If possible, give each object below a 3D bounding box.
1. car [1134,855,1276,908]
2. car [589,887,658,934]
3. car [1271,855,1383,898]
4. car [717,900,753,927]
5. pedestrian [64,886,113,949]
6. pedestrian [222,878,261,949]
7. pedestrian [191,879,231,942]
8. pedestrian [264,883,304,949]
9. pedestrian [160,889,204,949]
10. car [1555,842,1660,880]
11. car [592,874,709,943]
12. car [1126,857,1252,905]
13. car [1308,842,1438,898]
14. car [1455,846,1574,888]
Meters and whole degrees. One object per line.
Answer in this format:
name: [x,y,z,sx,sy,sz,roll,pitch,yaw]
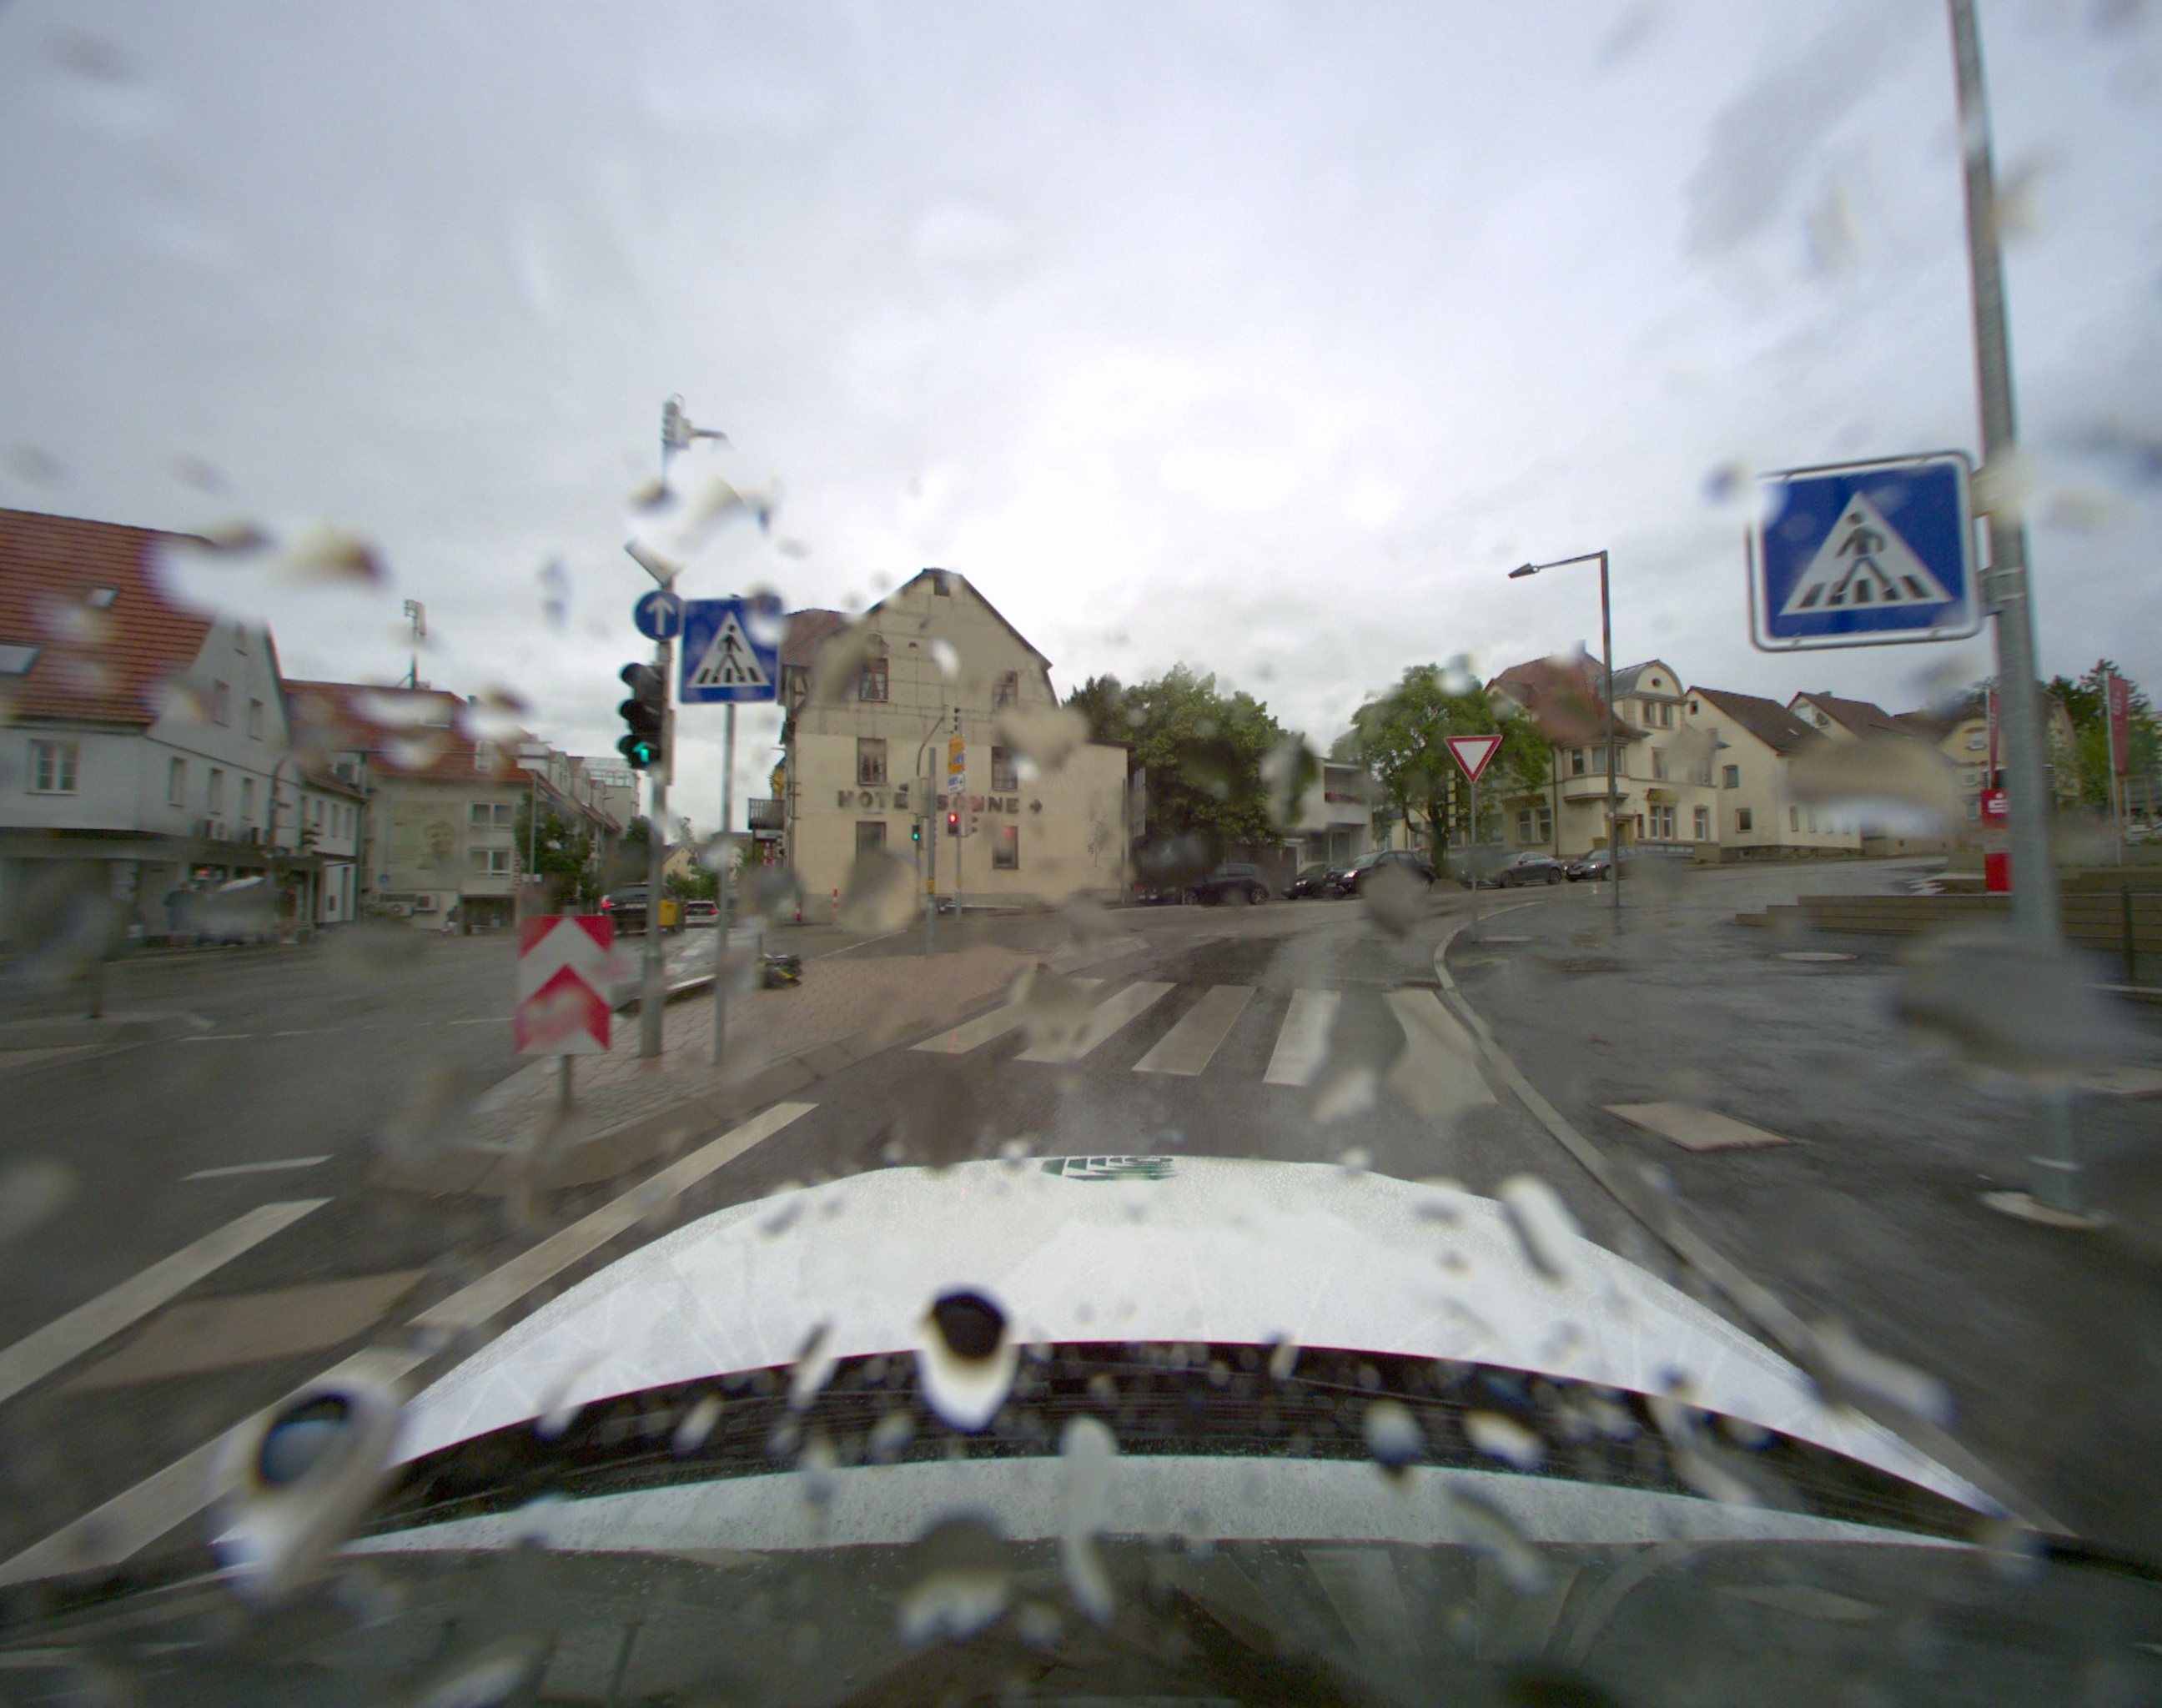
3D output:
car: [4.083,0.892,26.789,4.324,1.505,1.763,-2,-3,-26]
car: [-29.082,3.509,52.031,2.595,2.626,6.515,-2,-1,-19]
car: [10.041,0.901,33.240,4.192,1.519,1.764,-2,-3,-25]
car: [-24.393,4.171,57.530,1.892,1.467,3.977,-1,1,-17]
pedestrian: [-25.826,1.643,21.197,0.595,1.559,0.629,-1,-1,-27]
pedestrian: [-22.872,1.592,22.201,0.537,1.871,0.629,-1,-1,-27]
pedestrian: [-25.092,1.618,23.498,0.595,1.774,0.629,-1,-1,-27]
pedestrian: [-23.570,1.815,24.094,0.606,1.867,0.741,-1,-1,-27]
pedestrian: [-24.366,1.745,22.090,0.595,1.559,0.629,-1,-1,-27]
car: [22.894,0.304,35.427,4.192,1.452,1.764,-2,-3,-25]
car: [-12.319,1.478,23.622,1.947,1.566,4.397,1,2,-14]
car: [3.936,0.977,29.720,4.192,1.519,1.764,-2,-3,-25]
car: [10.619,0.576,29.599,4.322,1.816,1.764,-2,-3,-25]
car: [17.501,0.521,32.889,4.546,1.452,1.764,-2,-3,-25]
